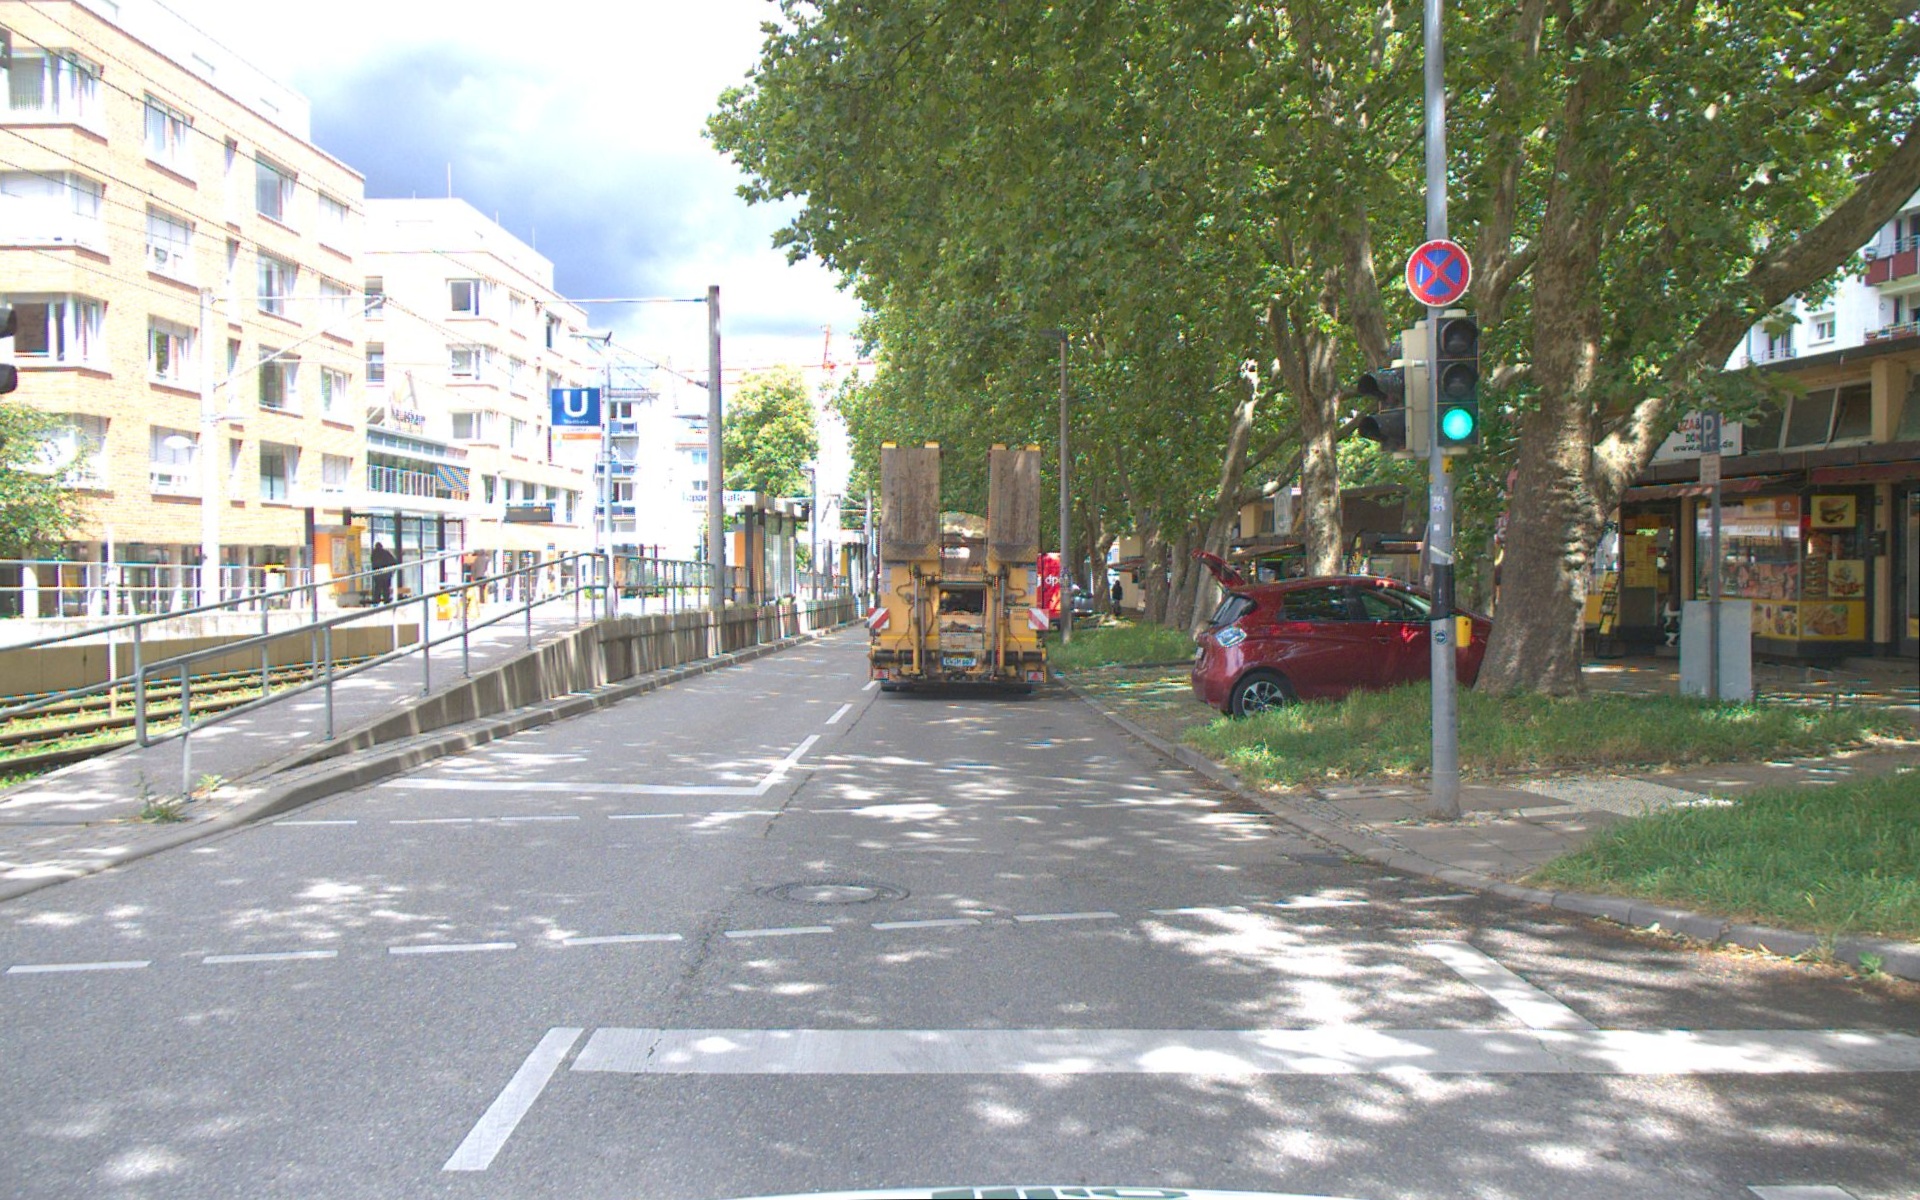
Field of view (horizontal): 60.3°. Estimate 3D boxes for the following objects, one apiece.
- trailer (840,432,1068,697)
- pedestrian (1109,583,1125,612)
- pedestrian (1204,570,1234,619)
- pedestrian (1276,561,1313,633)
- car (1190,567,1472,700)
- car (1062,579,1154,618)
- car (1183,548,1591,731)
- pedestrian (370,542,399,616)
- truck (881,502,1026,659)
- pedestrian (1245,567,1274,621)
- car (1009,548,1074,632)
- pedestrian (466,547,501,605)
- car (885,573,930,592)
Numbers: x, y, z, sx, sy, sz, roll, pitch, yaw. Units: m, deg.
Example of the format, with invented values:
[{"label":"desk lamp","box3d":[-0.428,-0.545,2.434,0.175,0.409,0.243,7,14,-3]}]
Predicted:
[{"label":"trailer","box3d":[-0.095,-0.523,28.369,3.090,3.614,11.096,1,0,0]},{"label":"pedestrian","box3d":[7.706,-0.115,80.990,0.681,1.416,0.512,-1,0,-4]},{"label":"pedestrian","box3d":[9.899,-0.205,63.183,0.910,1.832,0.602,-2,-1,45]},{"label":"pedestrian","box3d":[9.198,-0.084,45.503,0.728,1.916,0.941,-2,0,0]},{"label":"car","box3d":[4.956,0.430,22.336,3.340,1.541,1.609,-3,0,-4]},{"label":"car","box3d":[6.441,-0.088,72.128,3.756,1.589,1.617,-1,0,-7]},{"label":"car","box3d":[4.525,0.403,17.989,3.946,1.639,1.731,-4,0,2]},{"label":"pedestrian","box3d":[-14.086,-0.504,40.493,0.523,1.794,0.528,0,0,-3]},{"label":"truck","box3d":[-0.121,-0.421,37.885,2.928,3.190,7.887,1,0,0]},{"label":"pedestrian","box3d":[8.272,-0.167,45.754,0.612,1.473,1.028,0,0,0]},{"label":"car","box3d":[2.723,-0.331,56.519,1.865,2.626,6.834,-2,0,0]},{"label":"pedestrian","box3d":[-13.816,-0.680,47.952,0.736,1.657,0.816,1,0,0]},{"label":"car","box3d":[-6.239,-2.052,195.597,5.003,2.139,1.969,1,0,-14]}]
